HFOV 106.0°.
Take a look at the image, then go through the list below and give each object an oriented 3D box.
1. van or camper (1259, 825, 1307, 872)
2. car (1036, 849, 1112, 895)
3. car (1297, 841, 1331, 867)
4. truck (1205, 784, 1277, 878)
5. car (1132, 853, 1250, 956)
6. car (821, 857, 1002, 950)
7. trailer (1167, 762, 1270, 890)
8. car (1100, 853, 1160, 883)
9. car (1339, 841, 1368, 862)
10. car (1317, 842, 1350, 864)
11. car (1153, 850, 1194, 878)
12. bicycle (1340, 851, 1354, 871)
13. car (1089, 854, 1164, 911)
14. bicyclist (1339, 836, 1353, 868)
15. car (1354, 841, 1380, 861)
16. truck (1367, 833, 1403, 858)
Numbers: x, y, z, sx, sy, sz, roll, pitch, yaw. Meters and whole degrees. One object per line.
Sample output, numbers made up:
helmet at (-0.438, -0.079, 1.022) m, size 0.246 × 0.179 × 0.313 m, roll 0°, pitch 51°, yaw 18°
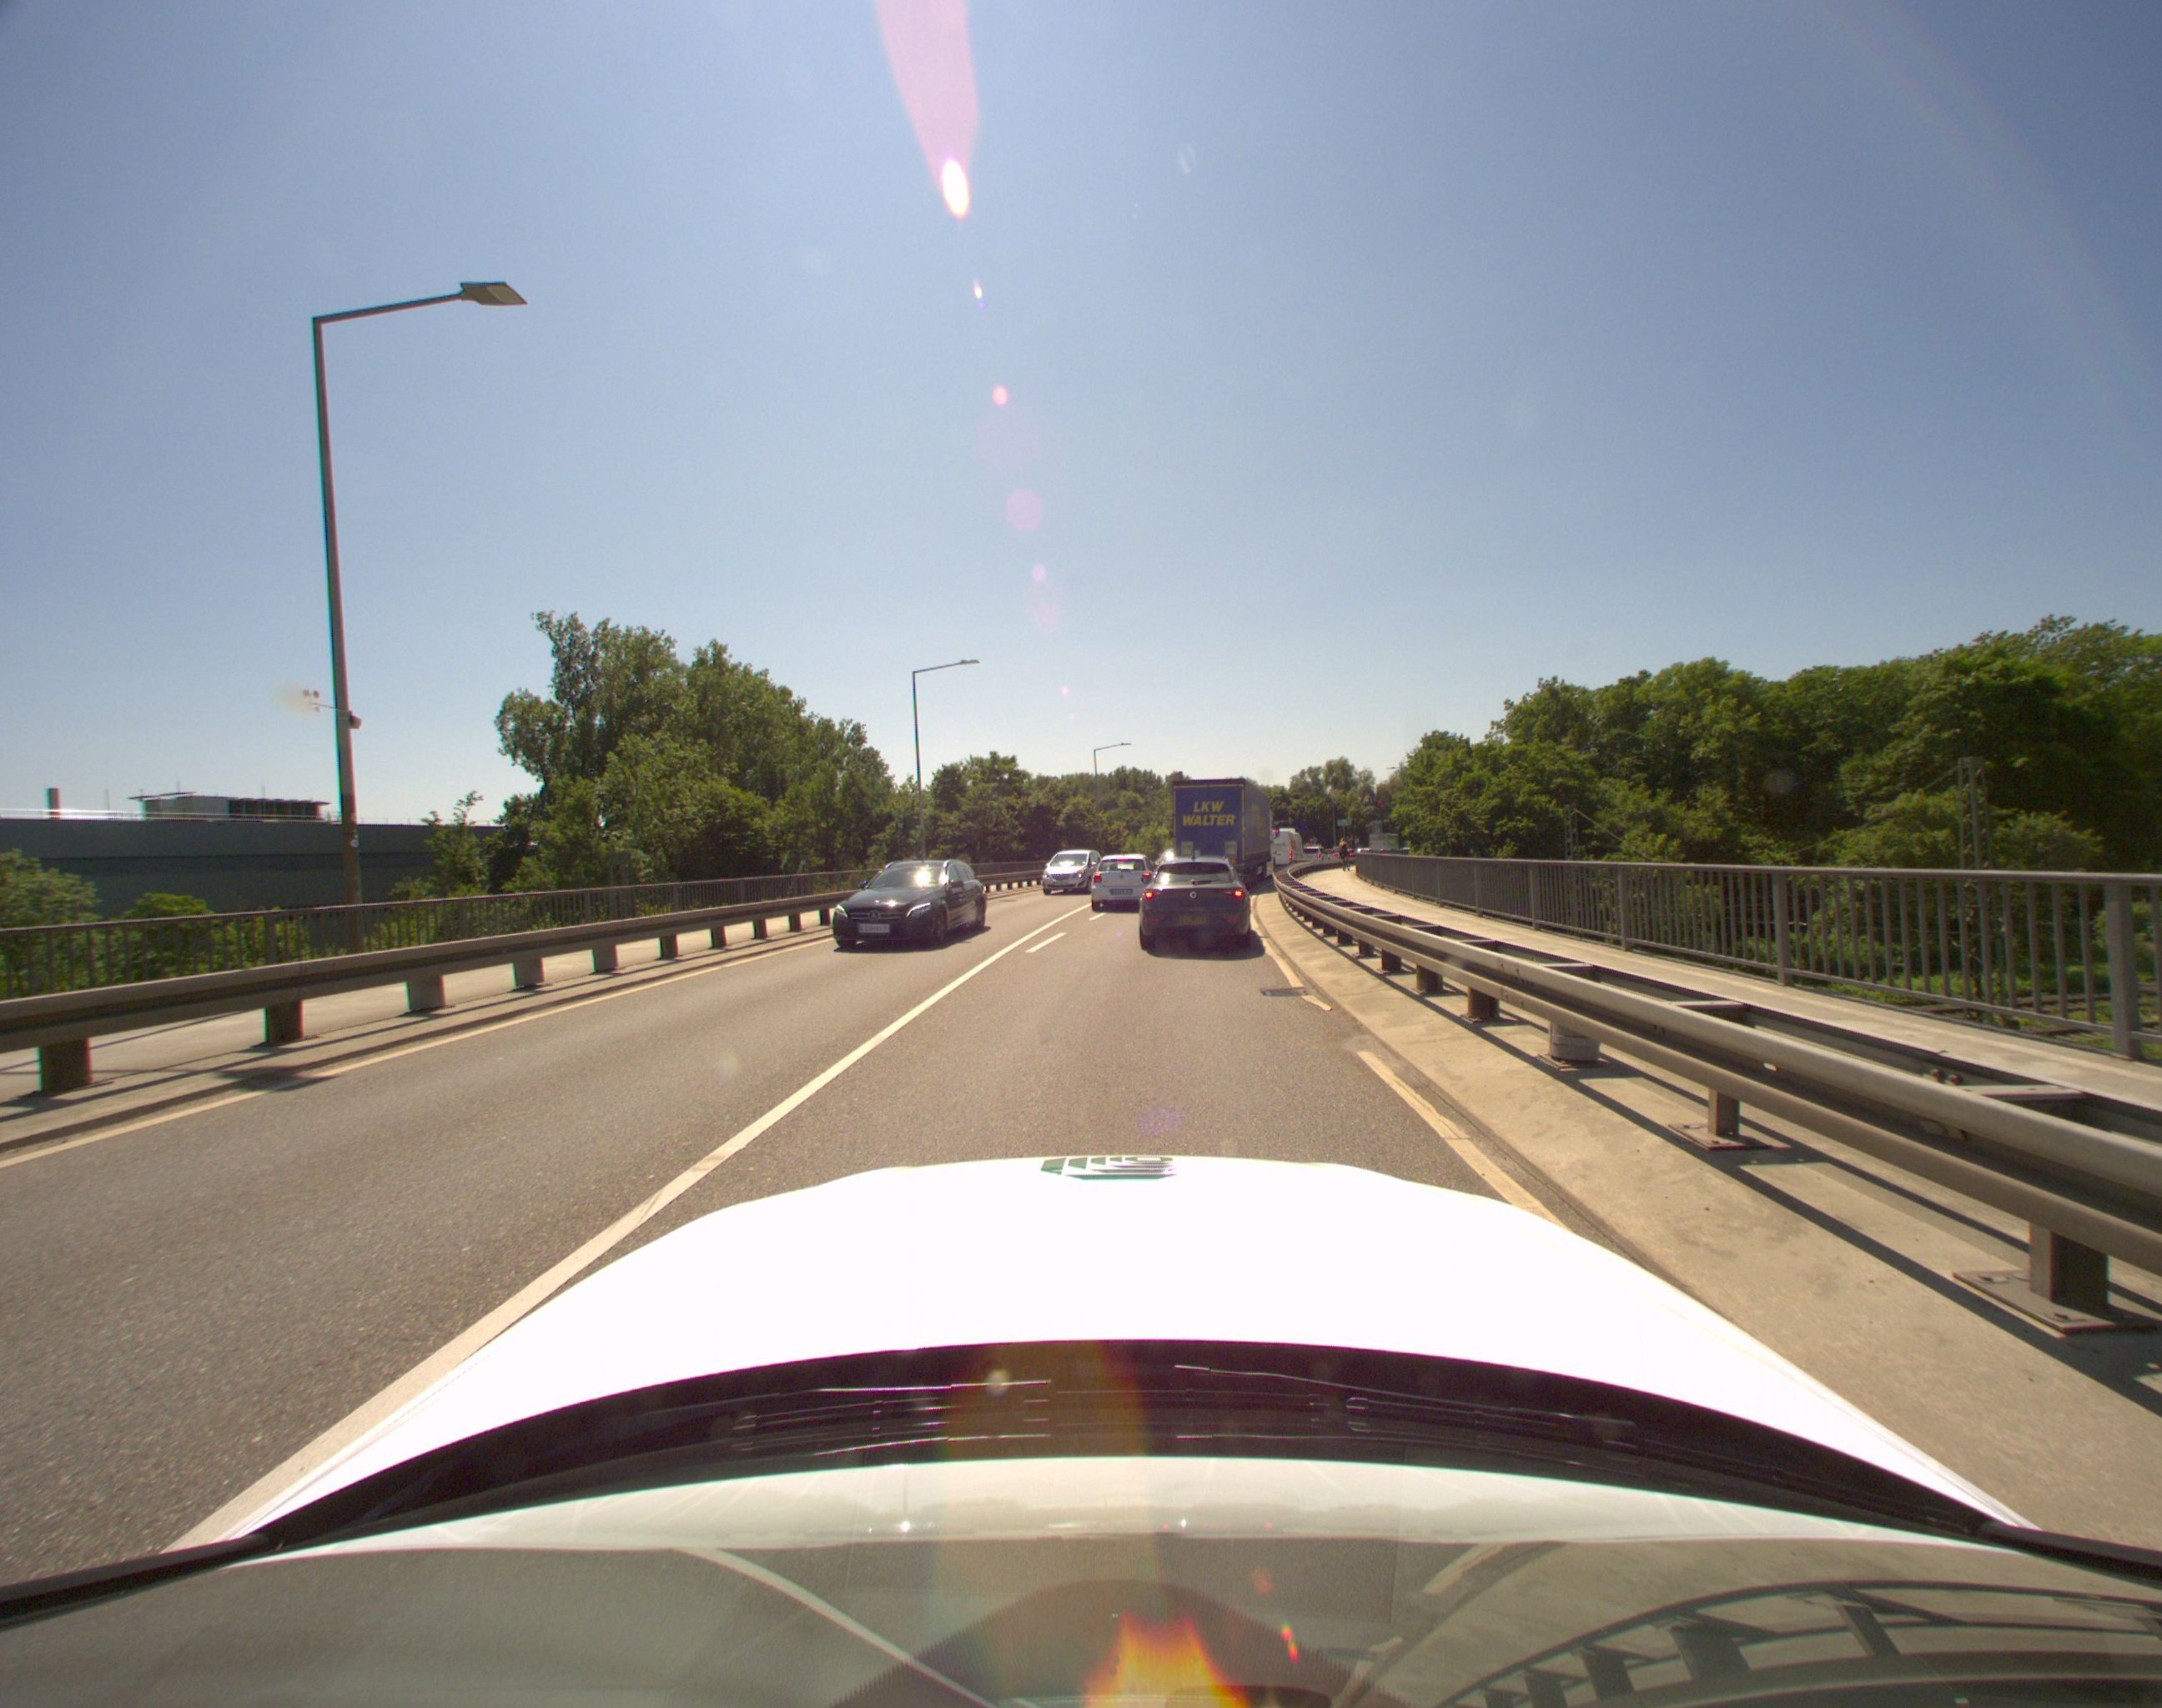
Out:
van or camper at (13.010, -0.360, 52.196) m, size 2.136 × 2.815 × 6.421 m, roll -1°, pitch 0°, yaw 21°
car at (-0.185, 0.629, 30.781) m, size 1.723 × 1.580 × 4.194 m, roll -1°, pitch 0°, yaw 15°
car at (17.288, -0.024, 60.258) m, size 1.705 × 1.844 × 4.024 m, roll -1°, pitch 1°, yaw 26°
truck at (8.303, -1.094, 41.693) m, size 2.882 × 4.418 × 6.585 m, roll -1°, pitch 0°, yaw 17°
car at (1.975, 0.735, 13.734) m, size 1.666 × 1.456 × 3.971 m, roll -1°, pitch 0°, yaw 11°
car at (-2.966, 0.813, 15.292) m, size 1.761 × 1.438 × 4.404 m, roll -1°, pitch 0°, yaw 10°
trailer at (6.202, -1.021, 34.596) m, size 2.882 × 4.418 × 12.486 m, roll -1°, pitch 0°, yaw 16°
car at (2.478, 0.667, 39.952) m, size 1.682 × 1.376 × 4.022 m, roll -2°, pitch 0°, yaw 22°
car at (24.919, -0.210, 74.290) m, size 1.704 × 1.844 × 4.025 m, roll -1°, pitch 0°, yaw 30°
car at (20.682, -0.100, 66.553) m, size 1.704 × 1.802 × 4.025 m, roll -1°, pitch 0°, yaw 29°
car at (5.779, 0.605, 50.323) m, size 1.787 × 1.641 × 4.319 m, roll -1°, pitch 0°, yaw 16°
bicycle at (14.380, 0.351, 44.032) m, size 0.577 × 1.035 × 1.492 m, roll -4°, pitch -1°, yaw 21°
car at (1.340, 0.722, 22.523) m, size 1.667 × 1.411 × 3.985 m, roll 0°, pitch 1°, yaw 9°
bicyclist at (14.337, -0.104, 44.009) m, size 0.573 × 1.683 × 0.733 m, roll -4°, pitch -1°, yaw 21°
car at (28.212, -0.316, 80.222) m, size 1.704 × 1.844 × 4.025 m, roll -1°, pitch 0°, yaw 30°
truck at (35.824, -1.044, 95.816) m, size 2.312 × 2.873 × 5.979 m, roll -1°, pitch 0°, yaw 37°
